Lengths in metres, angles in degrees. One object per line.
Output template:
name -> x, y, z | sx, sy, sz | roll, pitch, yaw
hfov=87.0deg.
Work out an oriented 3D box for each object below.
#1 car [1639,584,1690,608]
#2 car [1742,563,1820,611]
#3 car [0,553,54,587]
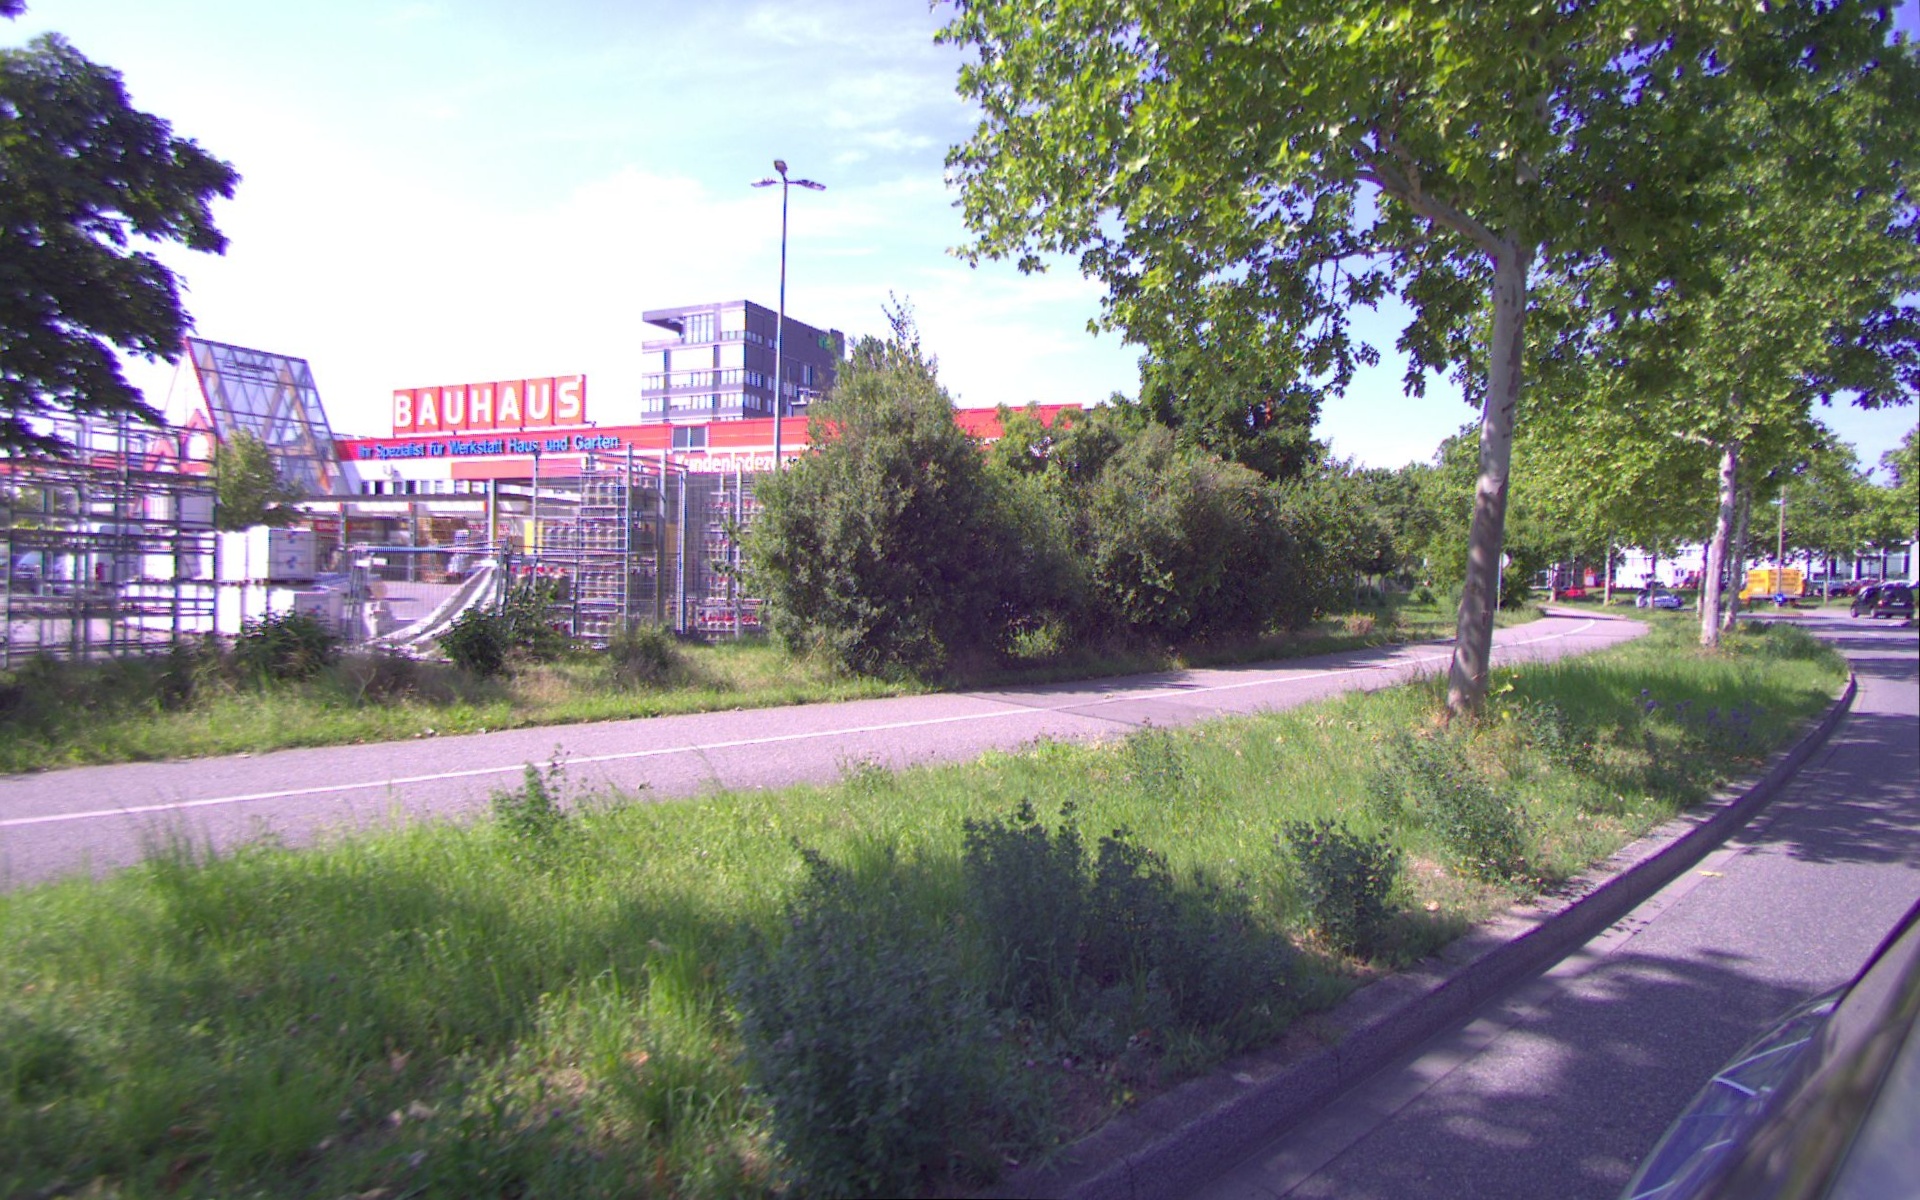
car -> 48.867, -0.302, 70.278 | 1.801, 1.540, 4.183 | 1, 1, 19
car -> 62.082, -0.926, 76.670 | 2.753, 3.475, 5.967 | -1, 0, 21
car -> -40.775, -1.259, 42.617 | 1.552, 1.396, 3.591 | 1, 1, 23
